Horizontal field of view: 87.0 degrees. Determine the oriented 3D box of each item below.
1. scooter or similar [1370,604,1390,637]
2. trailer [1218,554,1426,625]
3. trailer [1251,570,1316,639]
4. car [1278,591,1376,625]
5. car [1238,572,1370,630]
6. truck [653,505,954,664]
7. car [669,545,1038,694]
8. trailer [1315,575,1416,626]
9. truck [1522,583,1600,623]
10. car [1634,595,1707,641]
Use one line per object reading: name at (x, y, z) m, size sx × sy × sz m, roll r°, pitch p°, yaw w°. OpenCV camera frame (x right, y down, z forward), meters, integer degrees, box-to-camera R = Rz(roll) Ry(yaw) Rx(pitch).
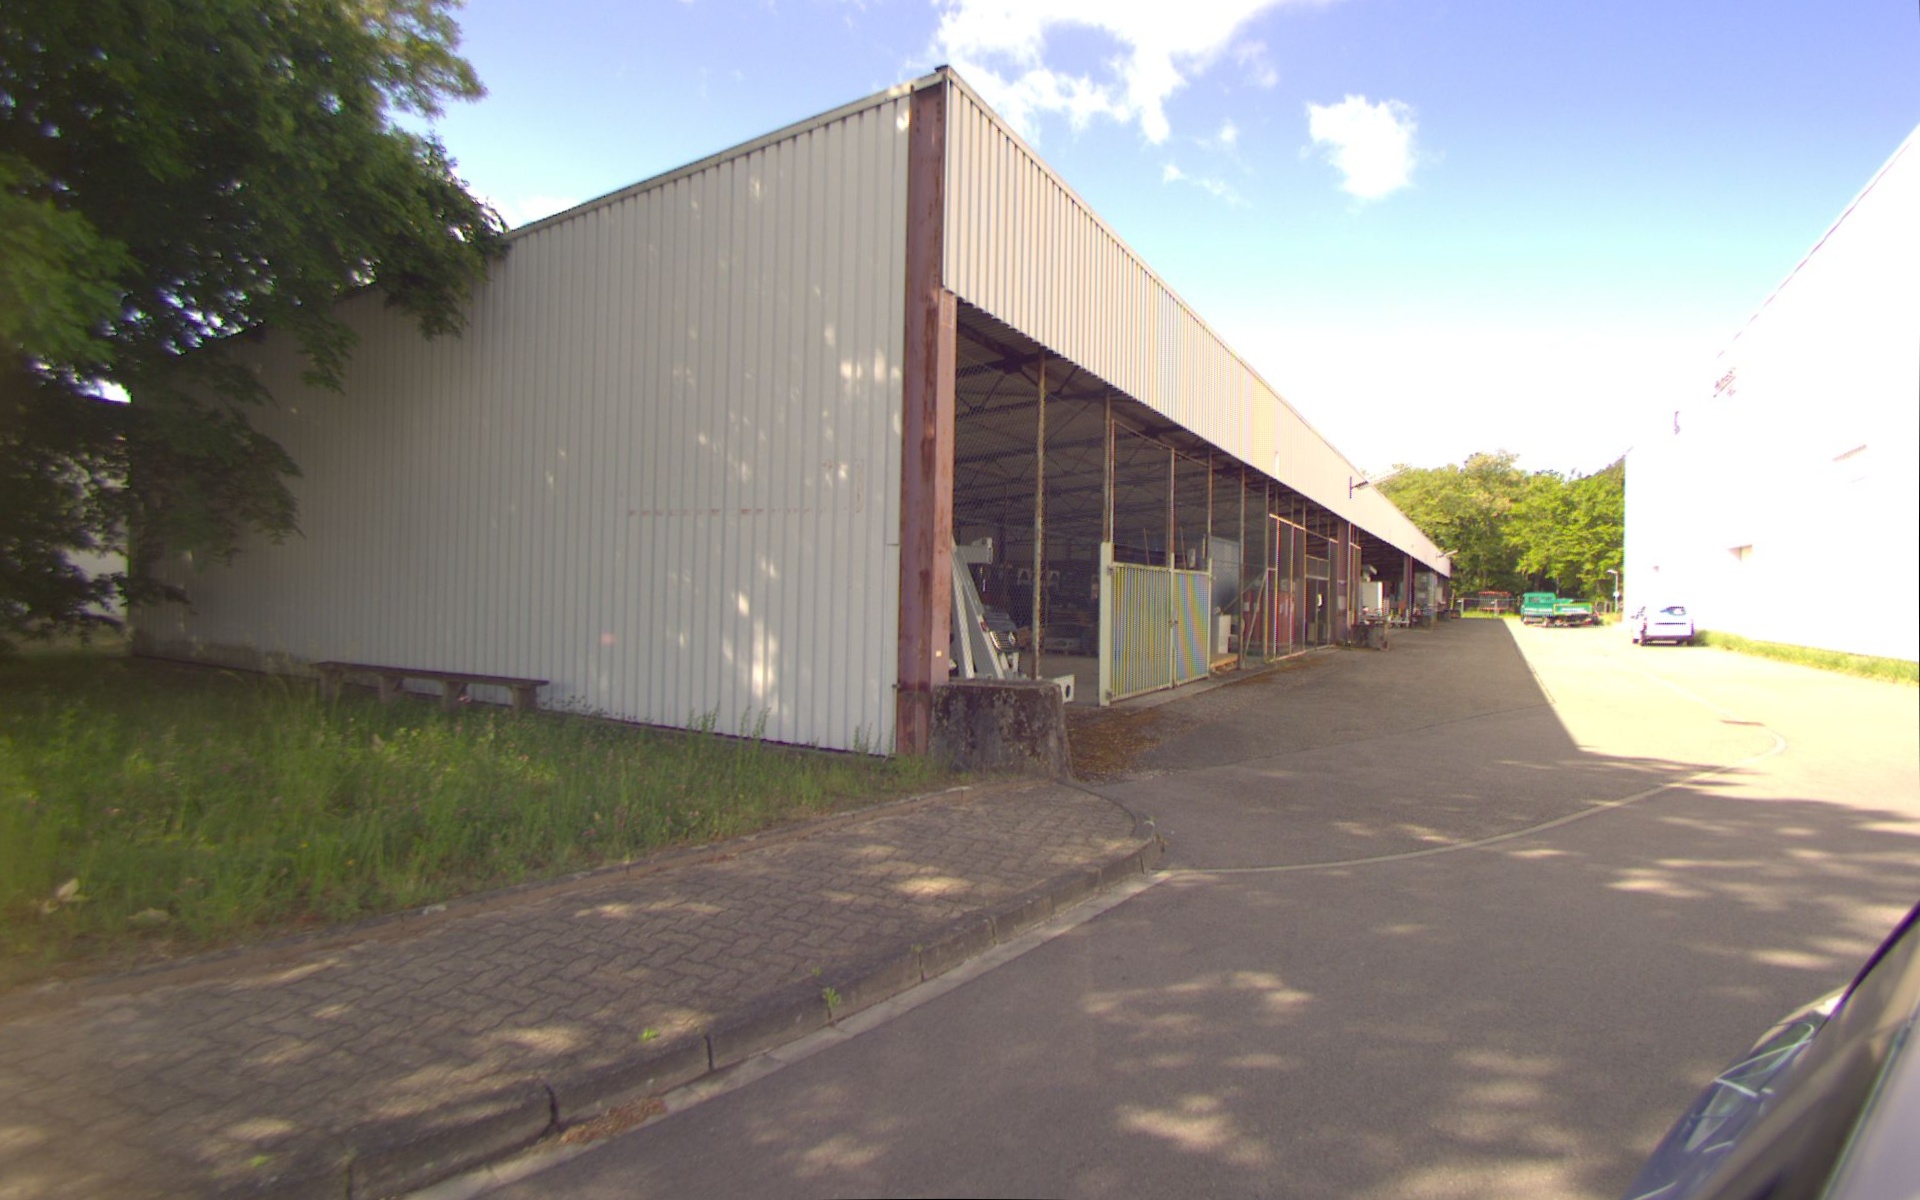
scooter or similar at (15.622, 0.736, 37.595) m, size 0.517 × 1.148 × 1.577 m, roll 2°, pitch 1°, yaw 28°
trailer at (19.498, -0.633, 54.914) m, size 10.240 × 3.336 × 2.647 m, roll 3°, pitch 1°, yaw 30°
trailer at (10.969, 0.114, 34.189) m, size 1.566 × 2.169 × 3.491 m, roll 3°, pitch 2°, yaw 25°
car at (18.082, 0.366, 49.885) m, size 4.315 × 1.451 × 1.848 m, roll 3°, pitch 2°, yaw 26°
car at (15.088, -0.002, 44.467) m, size 5.185 × 2.326 × 2.064 m, roll 2°, pitch 1°, yaw 28°
truck at (-3.115, -0.354, 19.816) m, size 5.535 × 2.740 × 2.342 m, roll 2°, pitch 1°, yaw 29°
car at (-1.614, 0.187, 15.304) m, size 5.125 × 1.942 × 2.260 m, roll 1°, pitch 1°, yaw 24°
trailer at (20.597, -0.002, 51.424) m, size 4.518 × 2.364 × 1.671 m, roll 3°, pitch 1°, yaw 30°
truck at (45.374, 0.250, 76.703) m, size 2.552 × 2.751 × 9.646 m, roll -1°, pitch -1°, yaw 16°
car at (29.550, 0.714, 42.209) m, size 1.917 × 1.813 × 4.552 m, roll 0°, pitch 0°, yaw 28°
